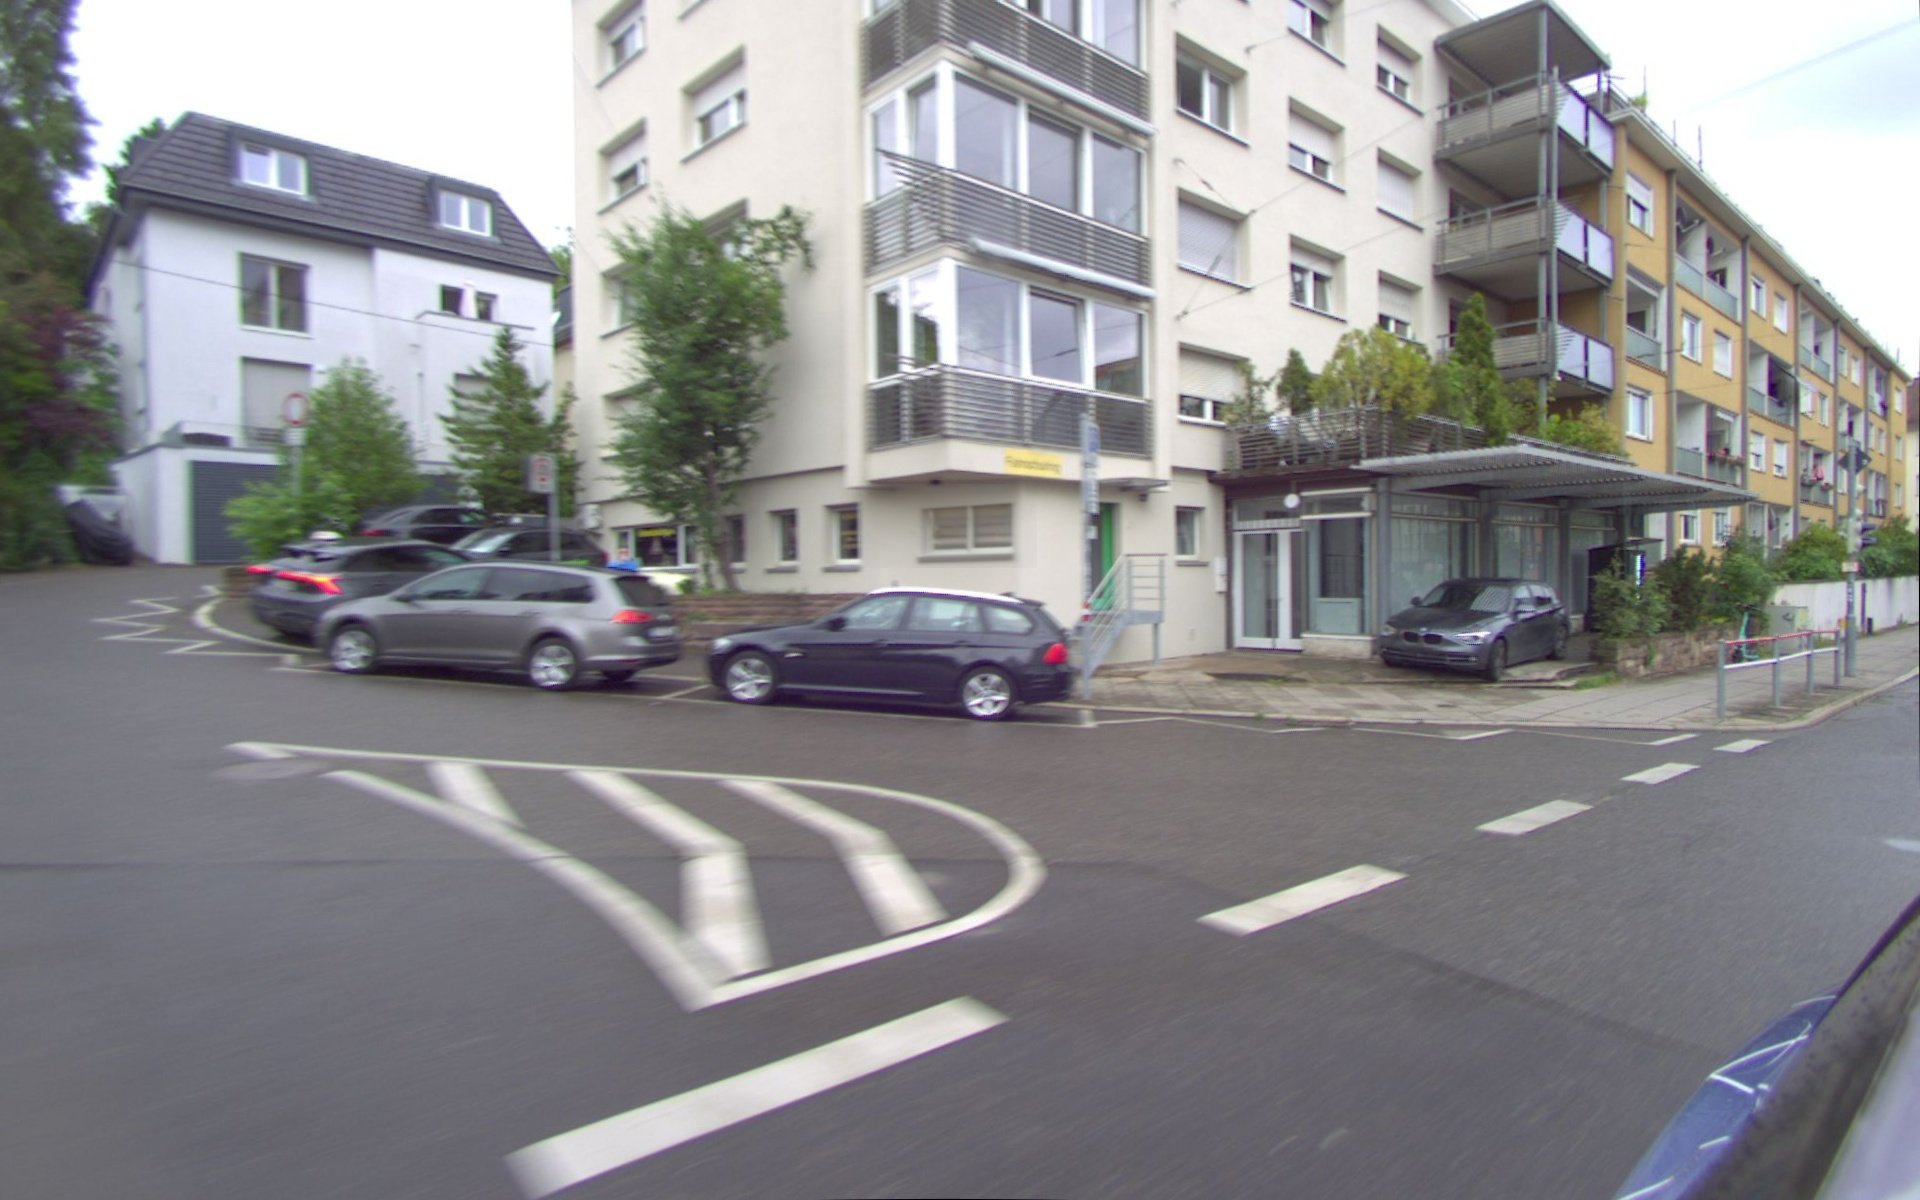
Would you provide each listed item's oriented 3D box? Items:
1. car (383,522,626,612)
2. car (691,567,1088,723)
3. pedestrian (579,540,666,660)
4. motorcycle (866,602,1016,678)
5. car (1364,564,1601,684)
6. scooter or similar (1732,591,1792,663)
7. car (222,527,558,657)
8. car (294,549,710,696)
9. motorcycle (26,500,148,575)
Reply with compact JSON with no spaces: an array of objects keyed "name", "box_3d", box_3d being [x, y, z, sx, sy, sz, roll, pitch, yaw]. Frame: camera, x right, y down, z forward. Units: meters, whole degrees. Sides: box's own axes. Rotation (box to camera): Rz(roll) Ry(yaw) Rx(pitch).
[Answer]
[{"name":"car","box_3d":[-8.949,-0.642,20.155,1.988,1.565,3.949,-2,1,36]},{"name":"car","box_3d":[-0.721,0.475,12.125,4.373,1.475,1.998,3,0,7]},{"name":"pedestrian","box_3d":[-5.443,-0.025,16.334,1.009,1.820,0.775,4,3,18]},{"name":"motorcycle","box_3d":[-0.274,0.590,15.286,2.176,0.991,0.551,3,2,8]},{"name":"car","box_3d":[8.600,0.270,16.515,4.372,1.520,1.858,-3,6,-40]},{"name":"scooter or similar","box_3d":[16.324,0.528,20.587,1.629,1.343,0.536,-1,5,-40]},{"name":"car","box_3d":[-8.800,-0.222,16.111,1.979,1.636,4.420,5,4,20]},{"name":"car","box_3d":[-5.627,0.213,12.738,4.375,1.475,1.998,3,1,8]},{"name":"motorcycle","box_3d":[-19.941,-1.398,23.120,2.437,1.556,0.947,-2,0,18]}]
